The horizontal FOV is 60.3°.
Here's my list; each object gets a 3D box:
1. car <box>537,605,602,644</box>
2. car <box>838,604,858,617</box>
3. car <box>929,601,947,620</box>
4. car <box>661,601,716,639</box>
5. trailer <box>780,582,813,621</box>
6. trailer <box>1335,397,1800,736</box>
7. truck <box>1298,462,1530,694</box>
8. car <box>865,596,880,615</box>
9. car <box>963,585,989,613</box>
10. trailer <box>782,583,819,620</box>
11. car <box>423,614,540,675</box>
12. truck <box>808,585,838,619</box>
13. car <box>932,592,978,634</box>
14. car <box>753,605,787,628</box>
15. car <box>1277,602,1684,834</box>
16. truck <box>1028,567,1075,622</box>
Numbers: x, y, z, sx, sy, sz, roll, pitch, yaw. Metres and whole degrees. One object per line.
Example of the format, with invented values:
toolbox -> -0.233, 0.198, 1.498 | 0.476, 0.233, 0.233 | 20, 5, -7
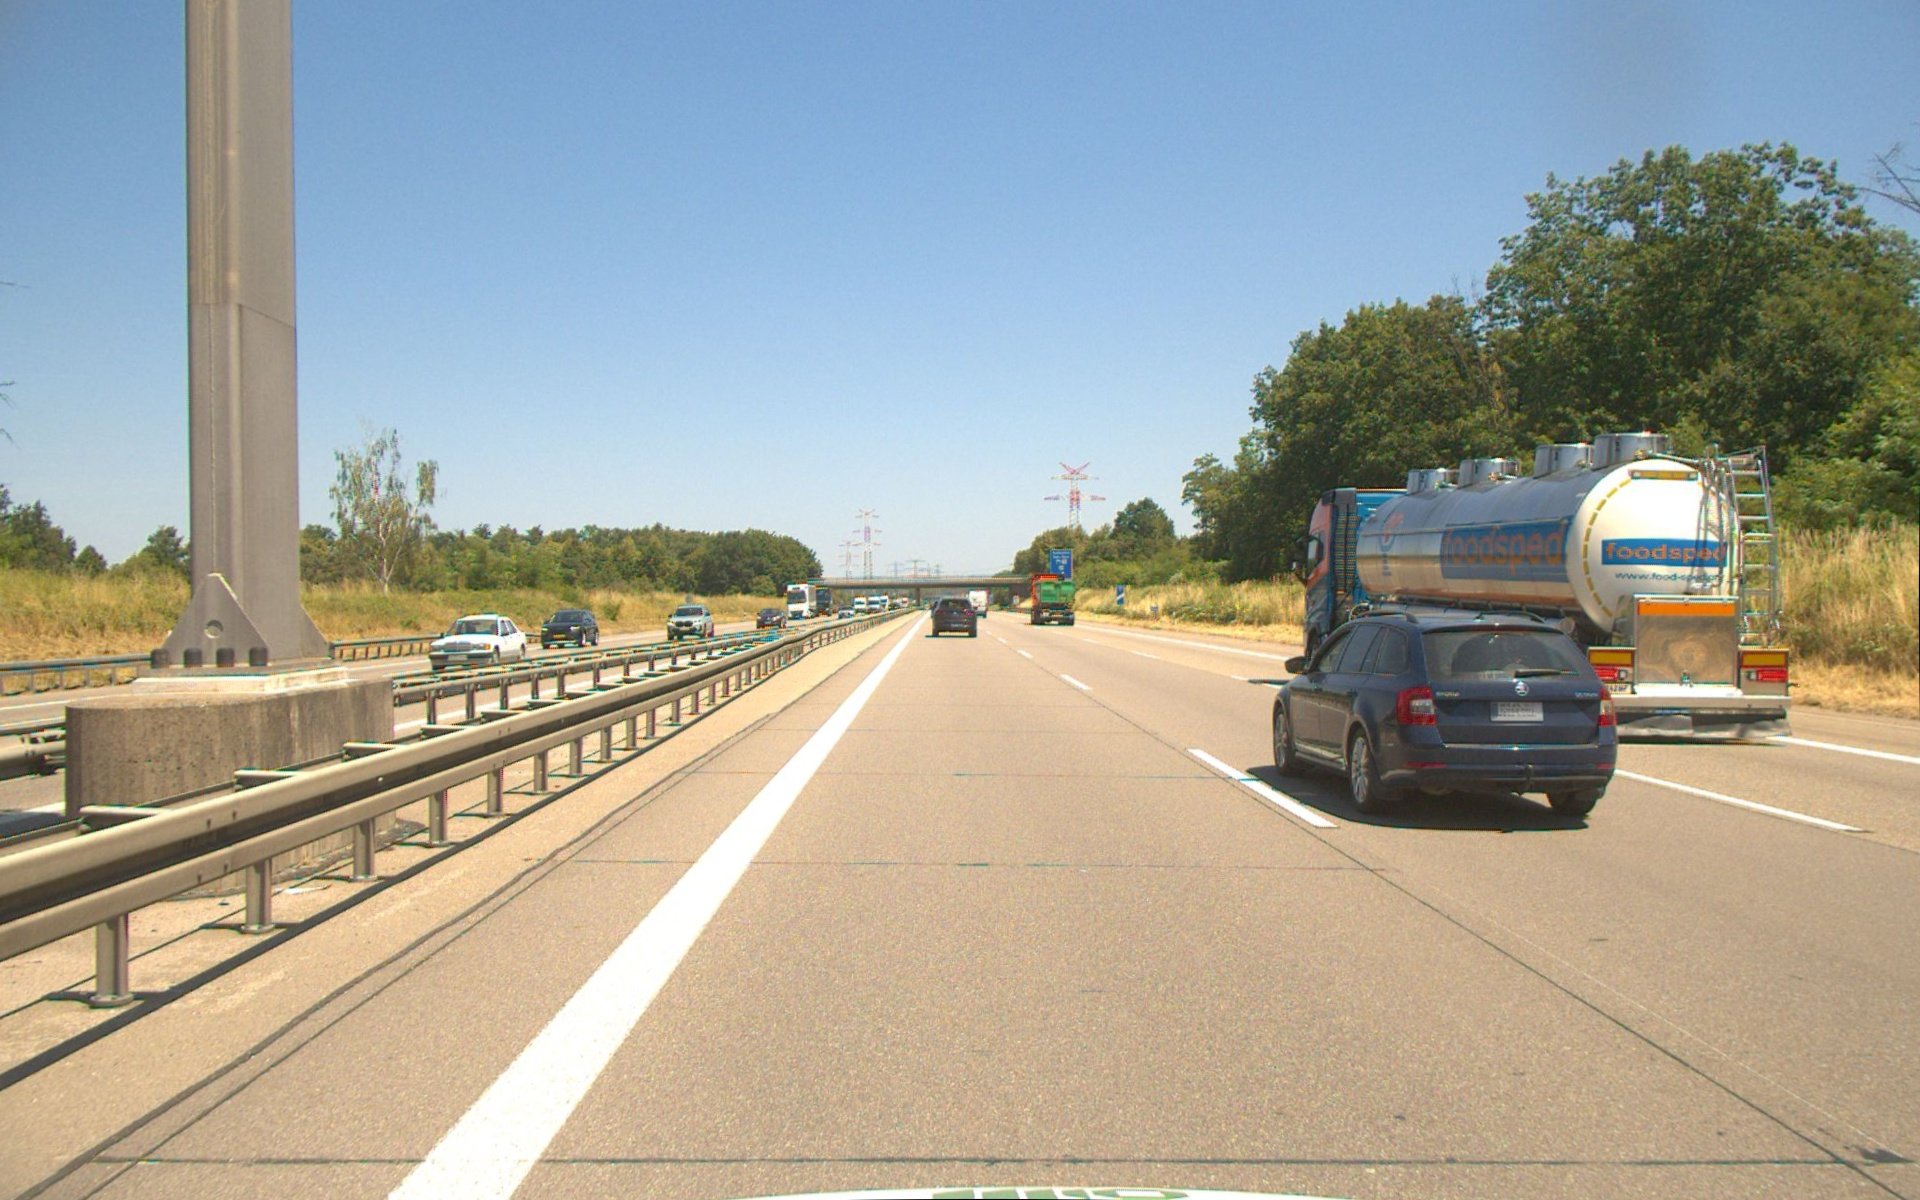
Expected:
car -> -17.354, 1.071, 73.747 | 1.794, 1.581, 4.948 | -2, 0, -1
car -> -12.549, 1.172, 185.944 | 1.922, 1.454, 5.289 | -2, 0, -1
car -> -2.151, 1.007, 162.076 | 1.758, 1.780, 3.999 | 1, 0, -1
car -> -13.591, 0.975, 83.030 | 1.922, 1.748, 5.289 | -2, 0, -1
trailer -> -19.185, 0.188, 194.626 | 3.091, 4.271, 6.324 | -3, 0, -1
trailer -> 8.209, -0.368, 24.544 | 2.477, 3.799, 11.546 | 1, 0, -1
truck -> 8.121, -0.358, 30.342 | 2.477, 3.799, 6.097 | 1, 0, -1
car -> -13.109, 0.823, 248.727 | 1.953, 2.615, 6.389 | -3, 0, -1
car -> 1.690, -0.110, 175.929 | 2.567, 2.807, 6.095 | 1, 0, -1
trailer -> -19.320, 0.200, 201.573 | 3.091, 4.271, 14.123 | -3, 0, -1
car -> -12.654, 1.141, 44.010 | 1.769, 1.420, 4.480 | -2, 0, 0
truck -> -19.966, 0.338, 241.180 | 3.308, 4.705, 12.184 | -3, 0, -1
car -> -0.232, 0.574, 73.105 | 1.953, 1.780, 3.999 | 1, 0, -1
car -> -13.635, 1.147, 119.079 | 1.922, 1.552, 5.289 | -2, 0, -1
car -> 3.851, 0.783, 13.045 | 1.765, 1.509, 4.270 | 1, 0, -1
truck -> 6.789, -0.389, 124.205 | 2.626, 3.864, 12.476 | 1, 0, -1
